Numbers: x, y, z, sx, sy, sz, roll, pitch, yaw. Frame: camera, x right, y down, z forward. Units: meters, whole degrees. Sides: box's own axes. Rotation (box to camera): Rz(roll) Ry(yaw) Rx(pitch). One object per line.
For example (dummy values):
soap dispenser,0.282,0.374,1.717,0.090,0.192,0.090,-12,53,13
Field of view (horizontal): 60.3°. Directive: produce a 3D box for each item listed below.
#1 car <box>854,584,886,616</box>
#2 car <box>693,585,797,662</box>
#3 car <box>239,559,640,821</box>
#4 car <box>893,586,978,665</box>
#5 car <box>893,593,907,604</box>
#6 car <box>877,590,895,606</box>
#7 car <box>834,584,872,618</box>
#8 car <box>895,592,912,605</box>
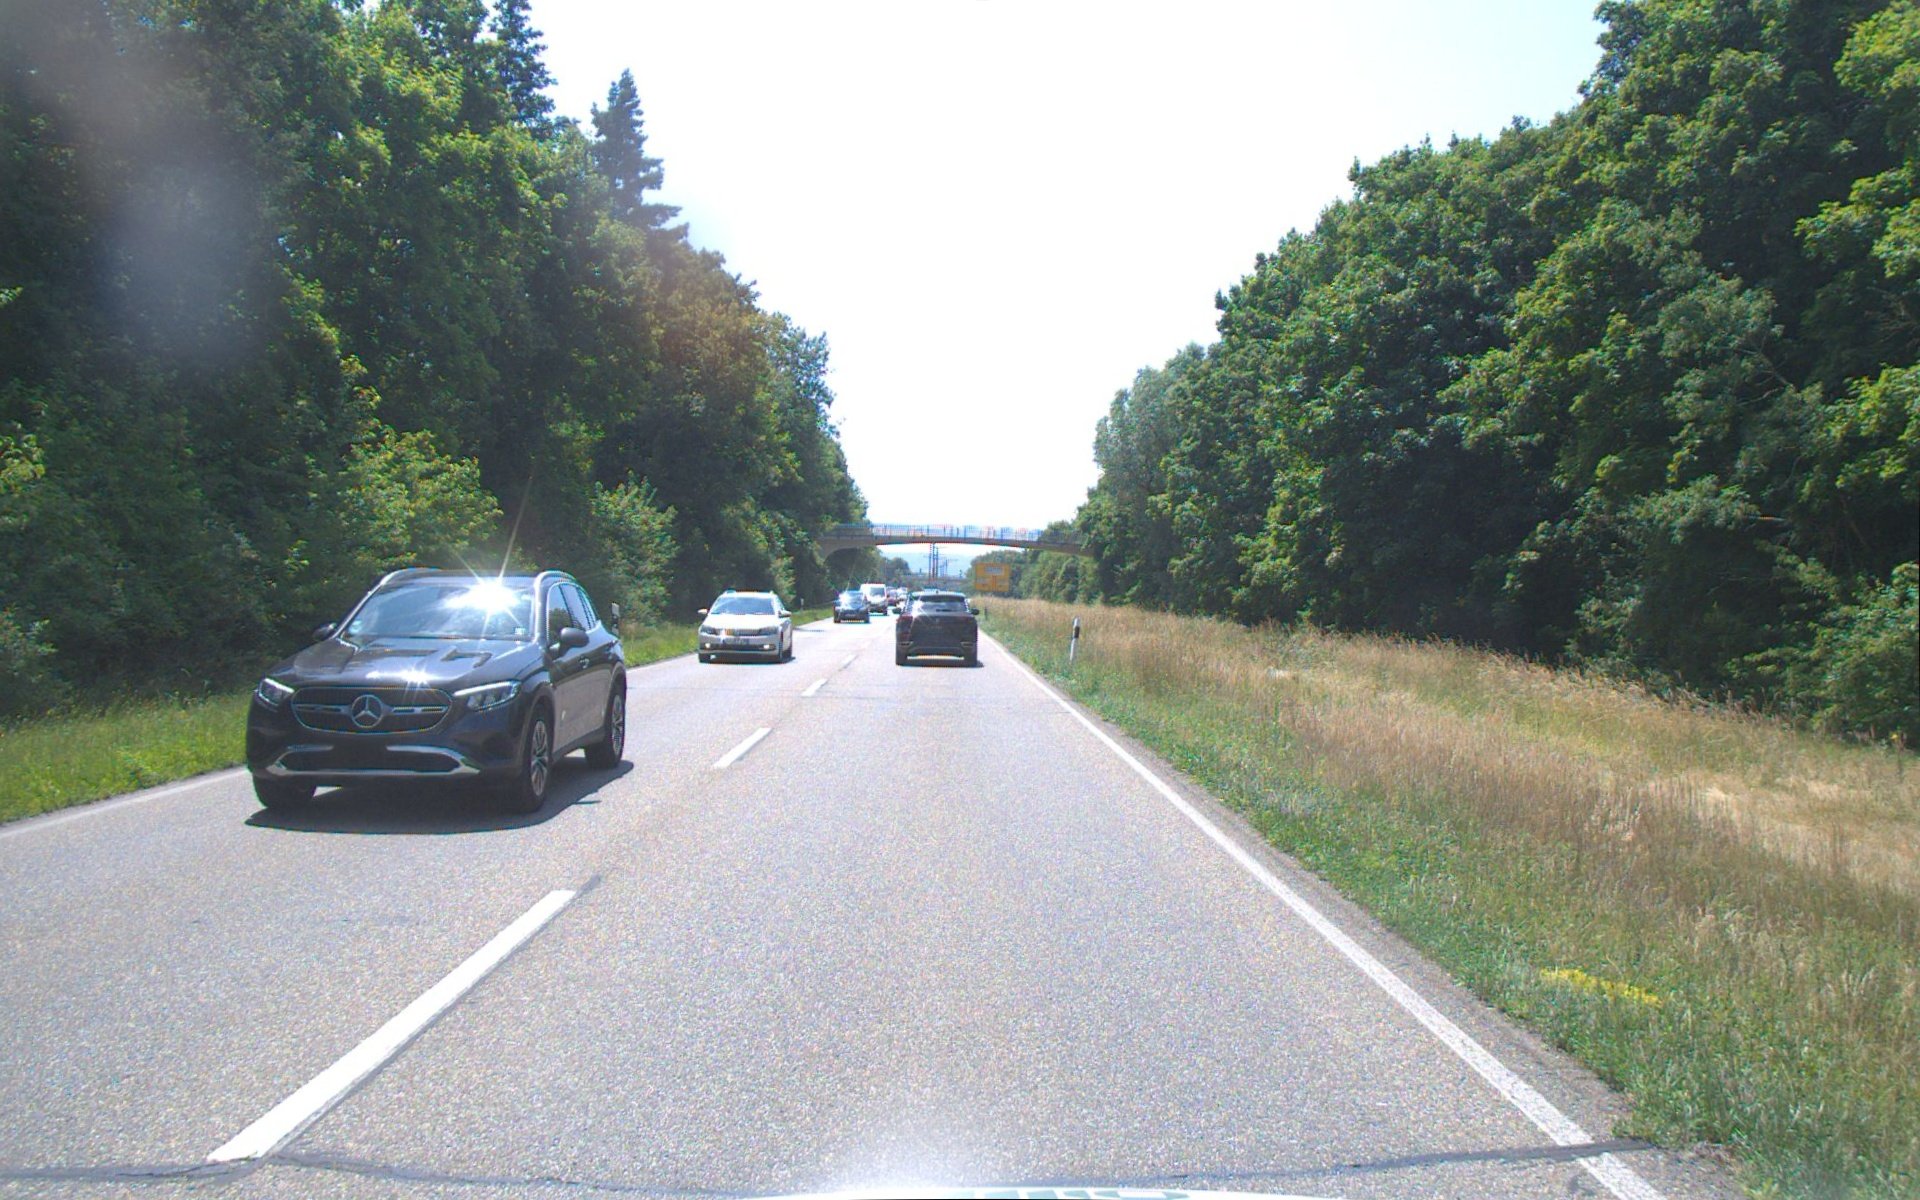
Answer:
car,-5.659,-0.024,104.709,1.837,1.962,4.986,1,0,-1
car,-4.637,0.464,36.271,1.802,1.563,4.657,1,0,-2
car,-3.714,0.560,12.624,1.827,1.653,4.199,1,0,-2
car,-0.492,0.532,36.176,1.719,1.583,4.000,2,0,0
car,-7.849,-0.184,216.867,1.643,1.458,3.772,0,0,0
car,-7.151,-0.204,160.145,1.648,1.519,3.999,0,0,-1
car,-5.142,0.056,79.650,1.638,1.545,3.999,1,0,-2
car,-6.299,-0.180,186.083,1.747,1.475,4.109,0,0,0
